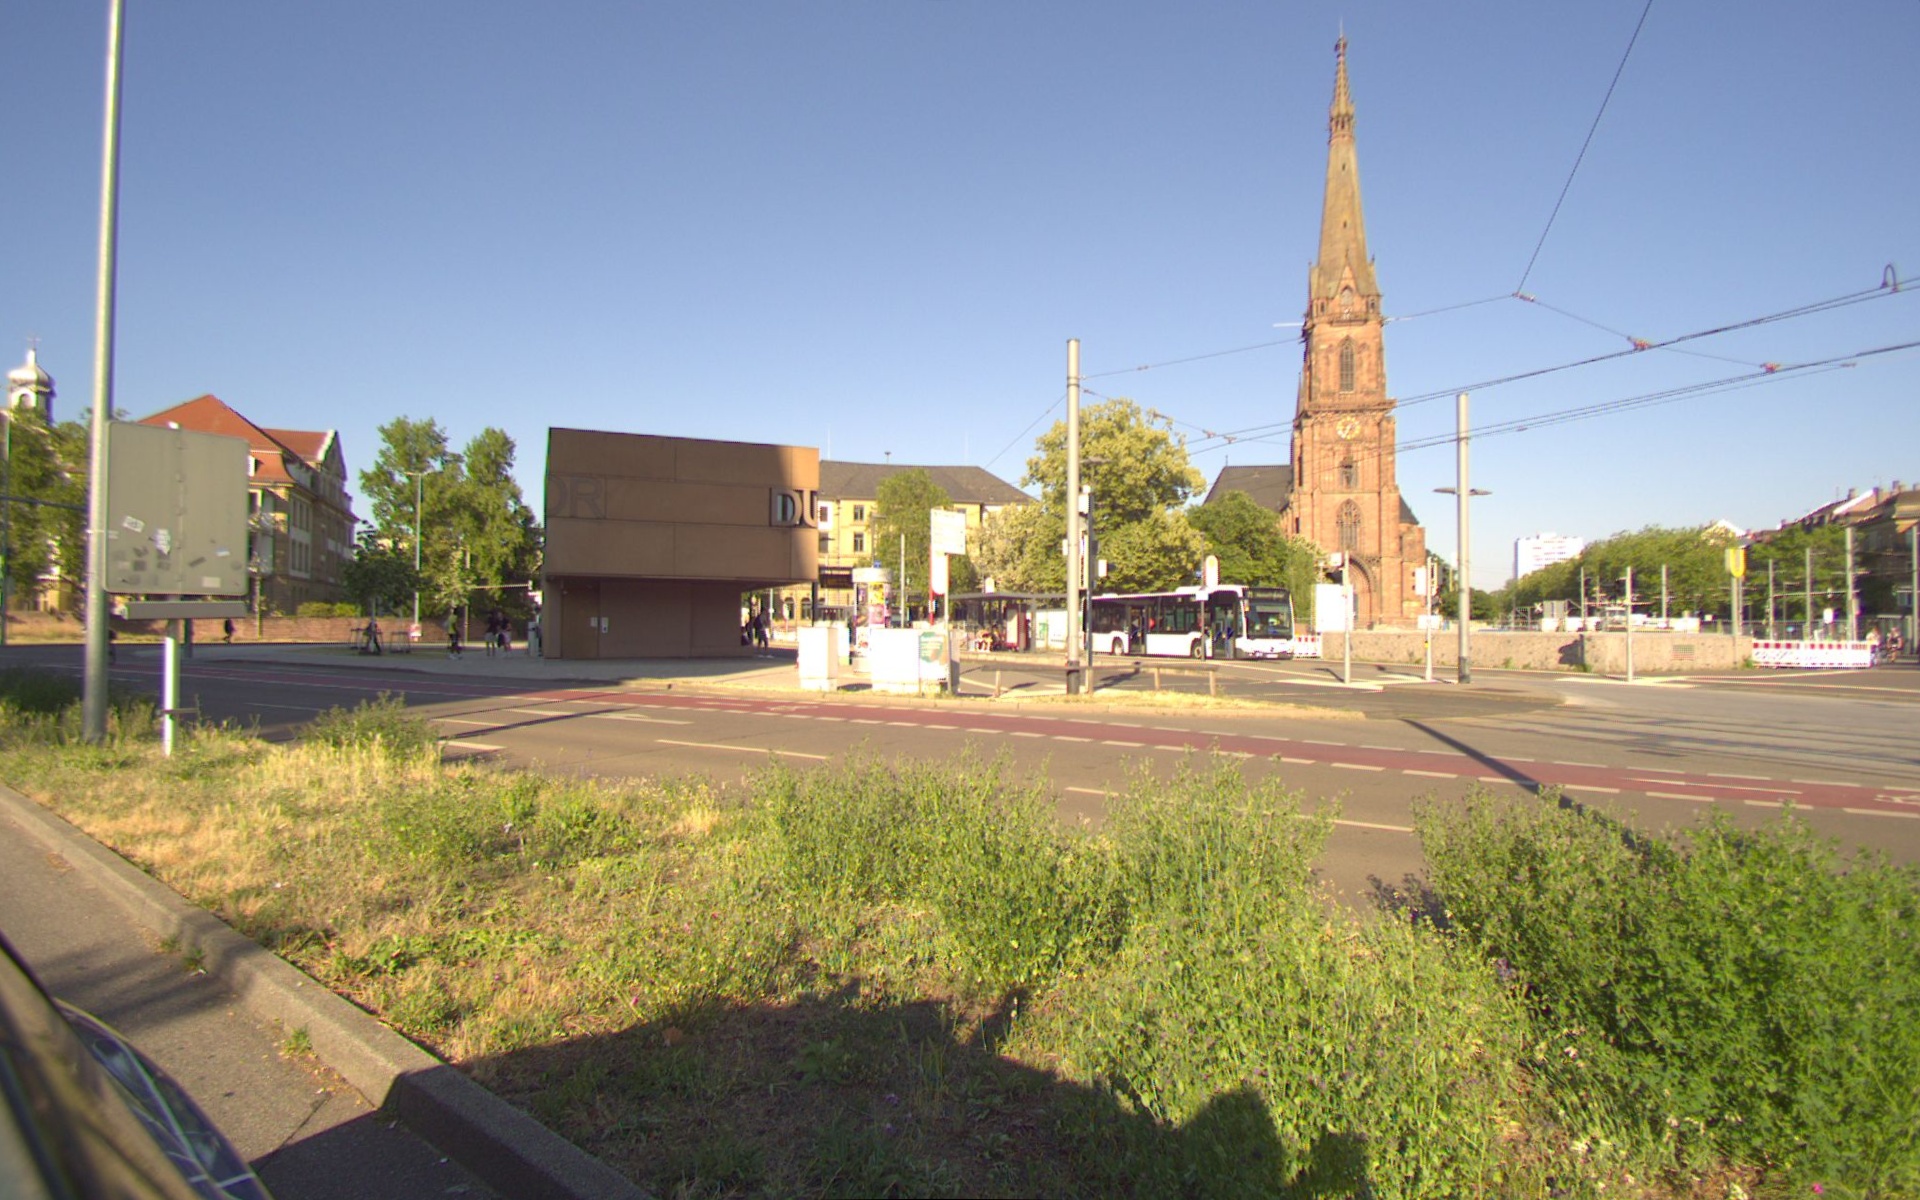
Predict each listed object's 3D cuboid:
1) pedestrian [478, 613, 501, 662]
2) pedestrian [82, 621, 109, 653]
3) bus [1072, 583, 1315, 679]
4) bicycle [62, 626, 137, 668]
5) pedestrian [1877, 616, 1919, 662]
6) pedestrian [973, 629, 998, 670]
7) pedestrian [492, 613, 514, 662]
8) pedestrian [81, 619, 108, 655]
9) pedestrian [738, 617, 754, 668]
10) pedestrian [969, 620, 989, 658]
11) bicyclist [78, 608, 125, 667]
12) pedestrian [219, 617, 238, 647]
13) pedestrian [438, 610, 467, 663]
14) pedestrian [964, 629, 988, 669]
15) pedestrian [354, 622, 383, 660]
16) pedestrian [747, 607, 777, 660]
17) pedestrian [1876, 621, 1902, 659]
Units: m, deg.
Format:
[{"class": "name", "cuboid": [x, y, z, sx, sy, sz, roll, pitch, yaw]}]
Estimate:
[{"class": "pedestrian", "cuboid": [-16.630, 1.320, 35.767, 0.629, 1.702, 0.551, 0, -3, -36]}, {"class": "pedestrian", "cuboid": [-47.287, 2.013, 55.377, 0.710, 1.686, 0.864, 3, 0, 28]}, {"class": "bus", "cuboid": [9.215, 1.080, 42.562, 3.194, 3.342, 12.229, 4, -1, -23]}, {"class": "bicycle", "cuboid": [-27.412, 1.478, 32.226, 2.539, 1.265, 0.736, 0, -1, 23]}, {"class": "pedestrian", "cuboid": [43.047, 1.777, 46.300, 1.373, 2.029, 1.499, -3, -3, 37]}, {"class": "pedestrian", "cuboid": [1.239, 2.400, 49.229, 0.964, 1.997, 0.721, 1, -3, -21]}, {"class": "pedestrian", "cuboid": [-16.749, 1.377, 37.084, 0.723, 1.744, 0.667, -1, -2, -24]}, {"class": "pedestrian", "cuboid": [-47.877, 2.052, 55.969, 0.710, 1.908, 0.864, 3, 0, 28]}, {"class": "pedestrian", "cuboid": [-8.709, 1.719, 41.162, 0.604, 2.029, 0.809, -1, -2, -13]}, {"class": "pedestrian", "cuboid": [1.018, 2.087, 53.721, 0.802, 1.997, 0.757, 1, -3, -21]}, {"class": "bicyclist", "cuboid": [-27.313, 1.182, 32.192, 1.007, 1.846, 0.737, 0, -1, 22]}, {"class": "pedestrian", "cuboid": [-42.314, 1.862, 58.550, 0.780, 1.665, 0.715, 3, 0, -33]}, {"class": "pedestrian", "cuboid": [-17.763, 1.273, 35.406, 0.639, 1.849, 0.709, -4, -3, 41]}, {"class": "pedestrian", "cuboid": [0.799, 2.473, 50.945, 0.979, 1.997, 0.831, 1, -3, -21]}, {"class": "pedestrian", "cuboid": [-27.324, 1.885, 46.741, 0.745, 1.697, 0.890, -1, -2, 30]}, {"class": "pedestrian", "cuboid": [-7.636, 1.304, 38.961, 0.964, 1.997, 0.721, 1, -3, -23]}, {"class": "pedestrian", "cuboid": [41.177, 1.769, 44.872, 0.727, 1.662, 0.785, -1, -2, 37]}]
